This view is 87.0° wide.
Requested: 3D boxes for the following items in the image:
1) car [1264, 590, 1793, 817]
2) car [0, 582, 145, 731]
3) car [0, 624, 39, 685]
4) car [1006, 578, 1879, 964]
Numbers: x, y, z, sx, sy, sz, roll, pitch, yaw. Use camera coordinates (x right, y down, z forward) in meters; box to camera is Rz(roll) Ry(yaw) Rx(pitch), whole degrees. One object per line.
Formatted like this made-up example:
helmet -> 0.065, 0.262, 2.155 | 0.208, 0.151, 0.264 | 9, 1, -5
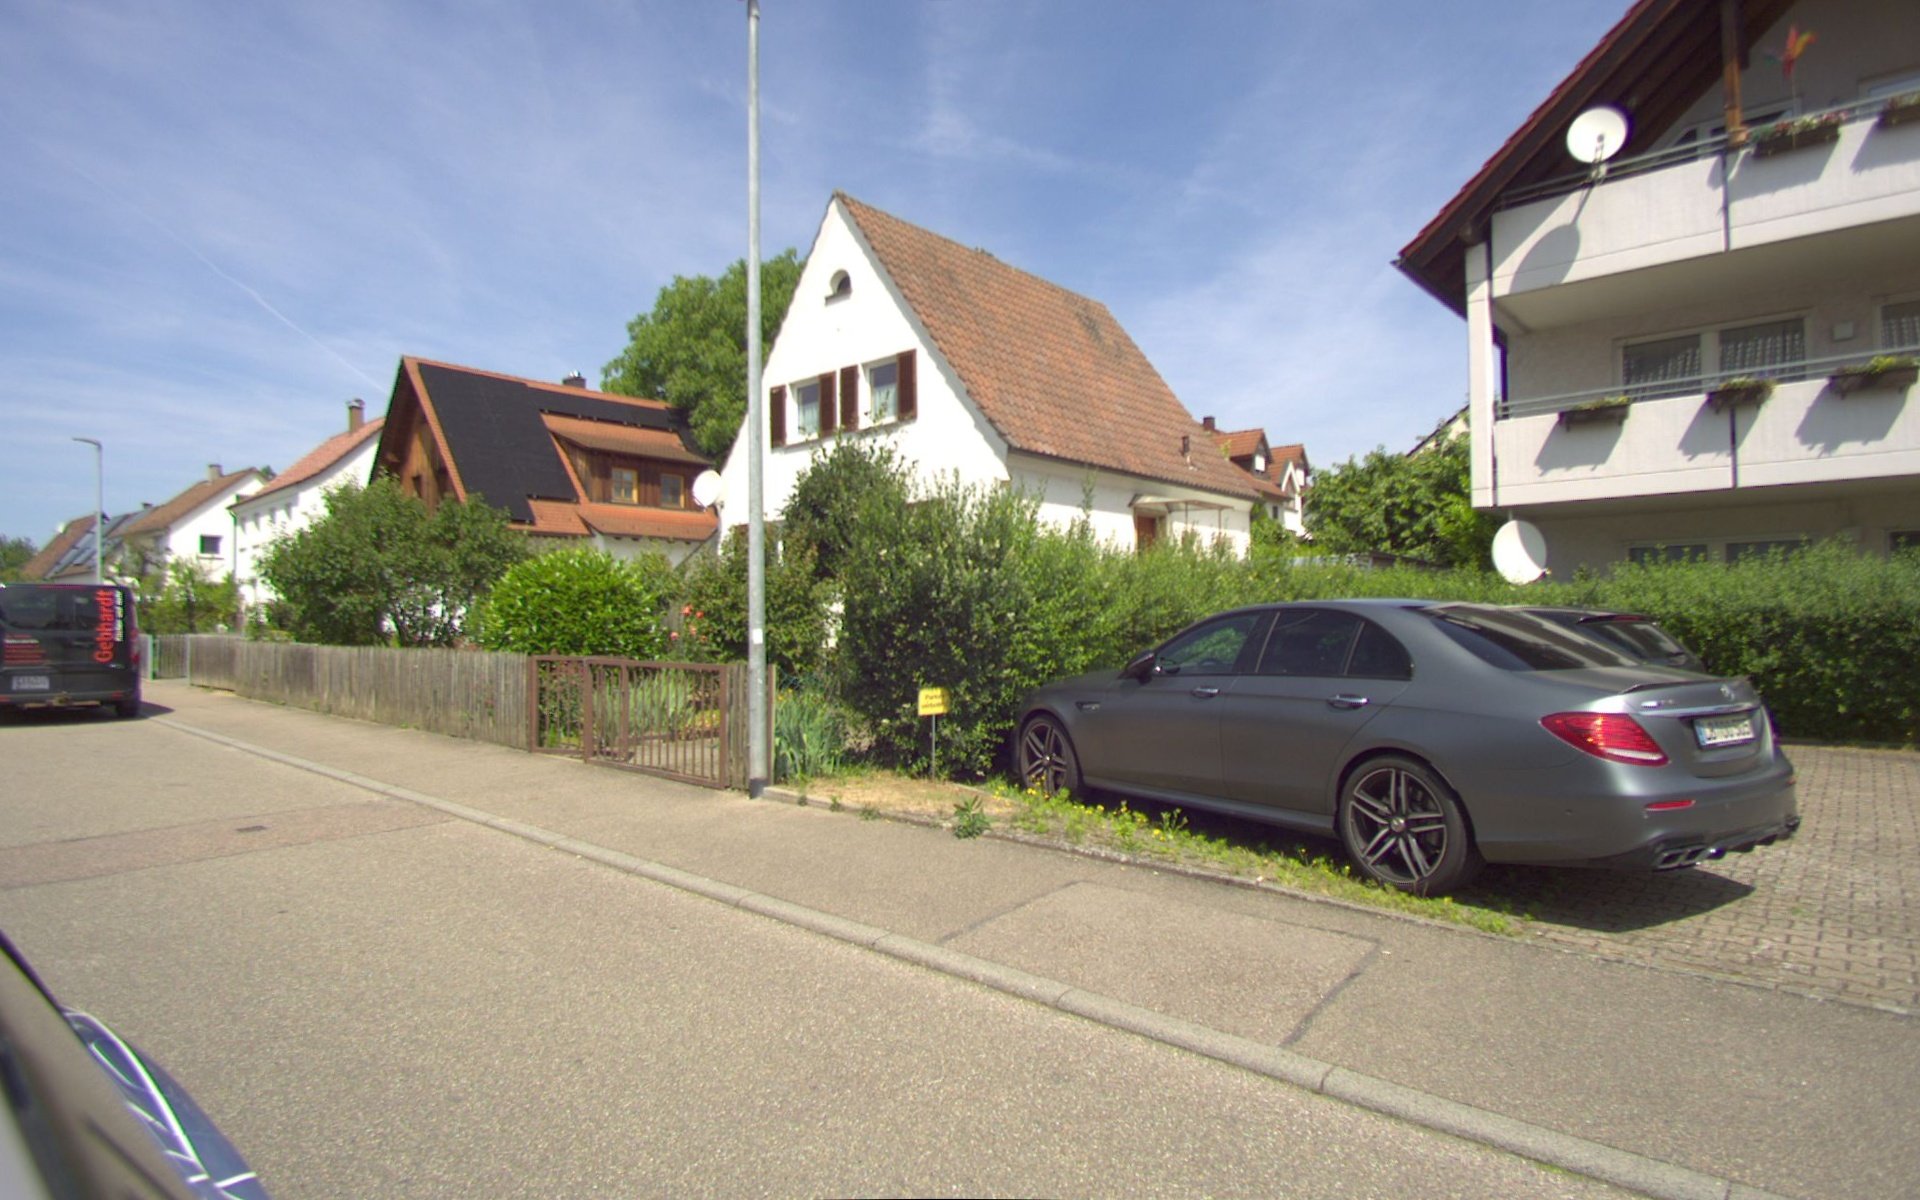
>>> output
car -> 4.599, 0.720, 8.770 | 1.665, 1.513, 3.663 | 0, -1, -27
car -> -14.101, 0.790, 15.408 | 4.695, 1.966, 1.947 | -1, -1, 42
car -> -24.348, 1.337, 25.278 | 3.263, 1.453, 1.565 | -1, -2, 40
car -> 2.329, 0.675, 6.218 | 1.802, 1.443, 4.576 | 0, -1, -32
